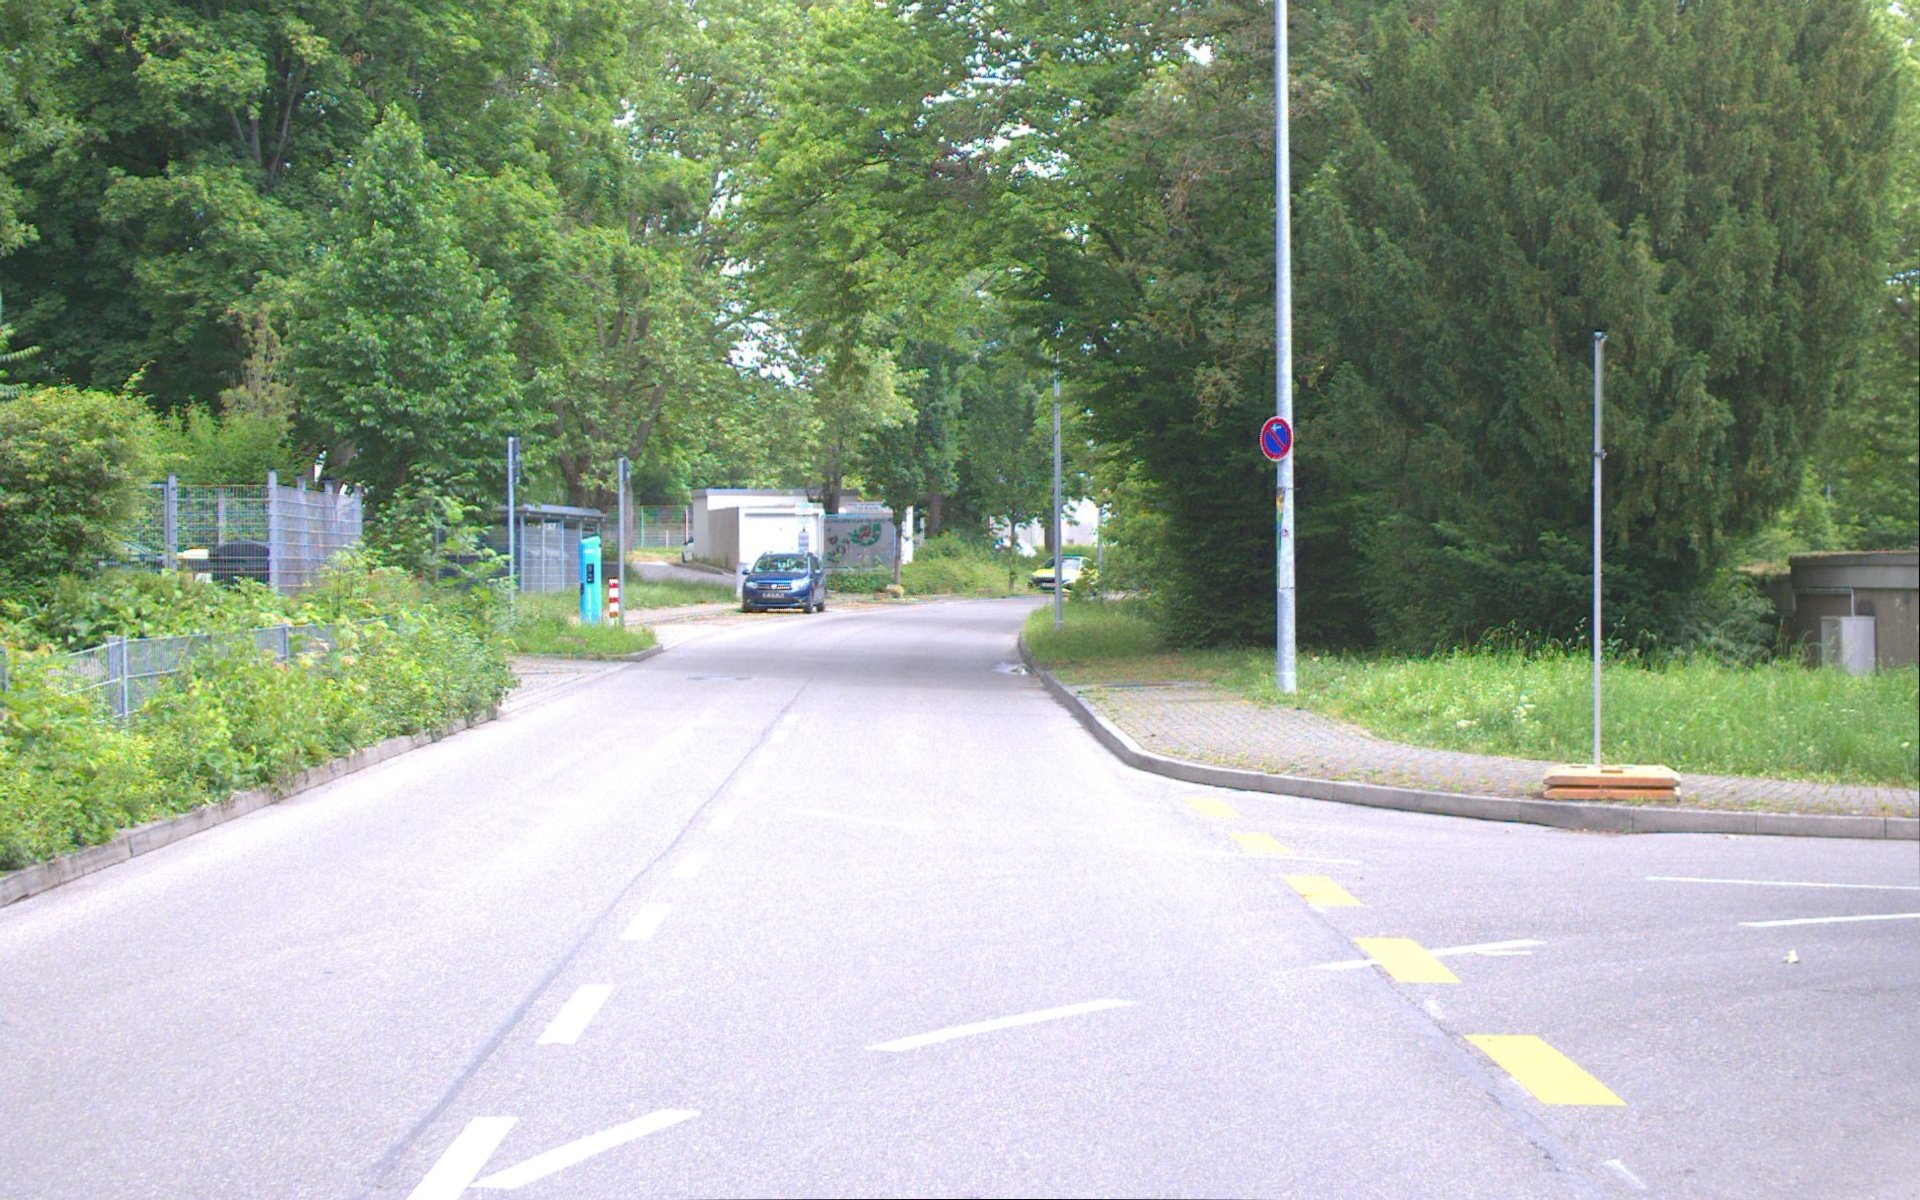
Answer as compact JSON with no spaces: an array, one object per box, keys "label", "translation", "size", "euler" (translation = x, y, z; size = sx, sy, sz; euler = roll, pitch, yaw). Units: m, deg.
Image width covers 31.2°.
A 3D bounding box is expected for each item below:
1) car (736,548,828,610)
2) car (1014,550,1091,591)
[{"label":"car","translation":[-4.430,-0.537,86.103],"size":[1.680,1.506,4.430],"euler":[1,1,5]},{"label":"car","translation":[3.344,-1.047,123.501],"size":[1.701,1.398,4.270],"euler":[2,0,16]}]
